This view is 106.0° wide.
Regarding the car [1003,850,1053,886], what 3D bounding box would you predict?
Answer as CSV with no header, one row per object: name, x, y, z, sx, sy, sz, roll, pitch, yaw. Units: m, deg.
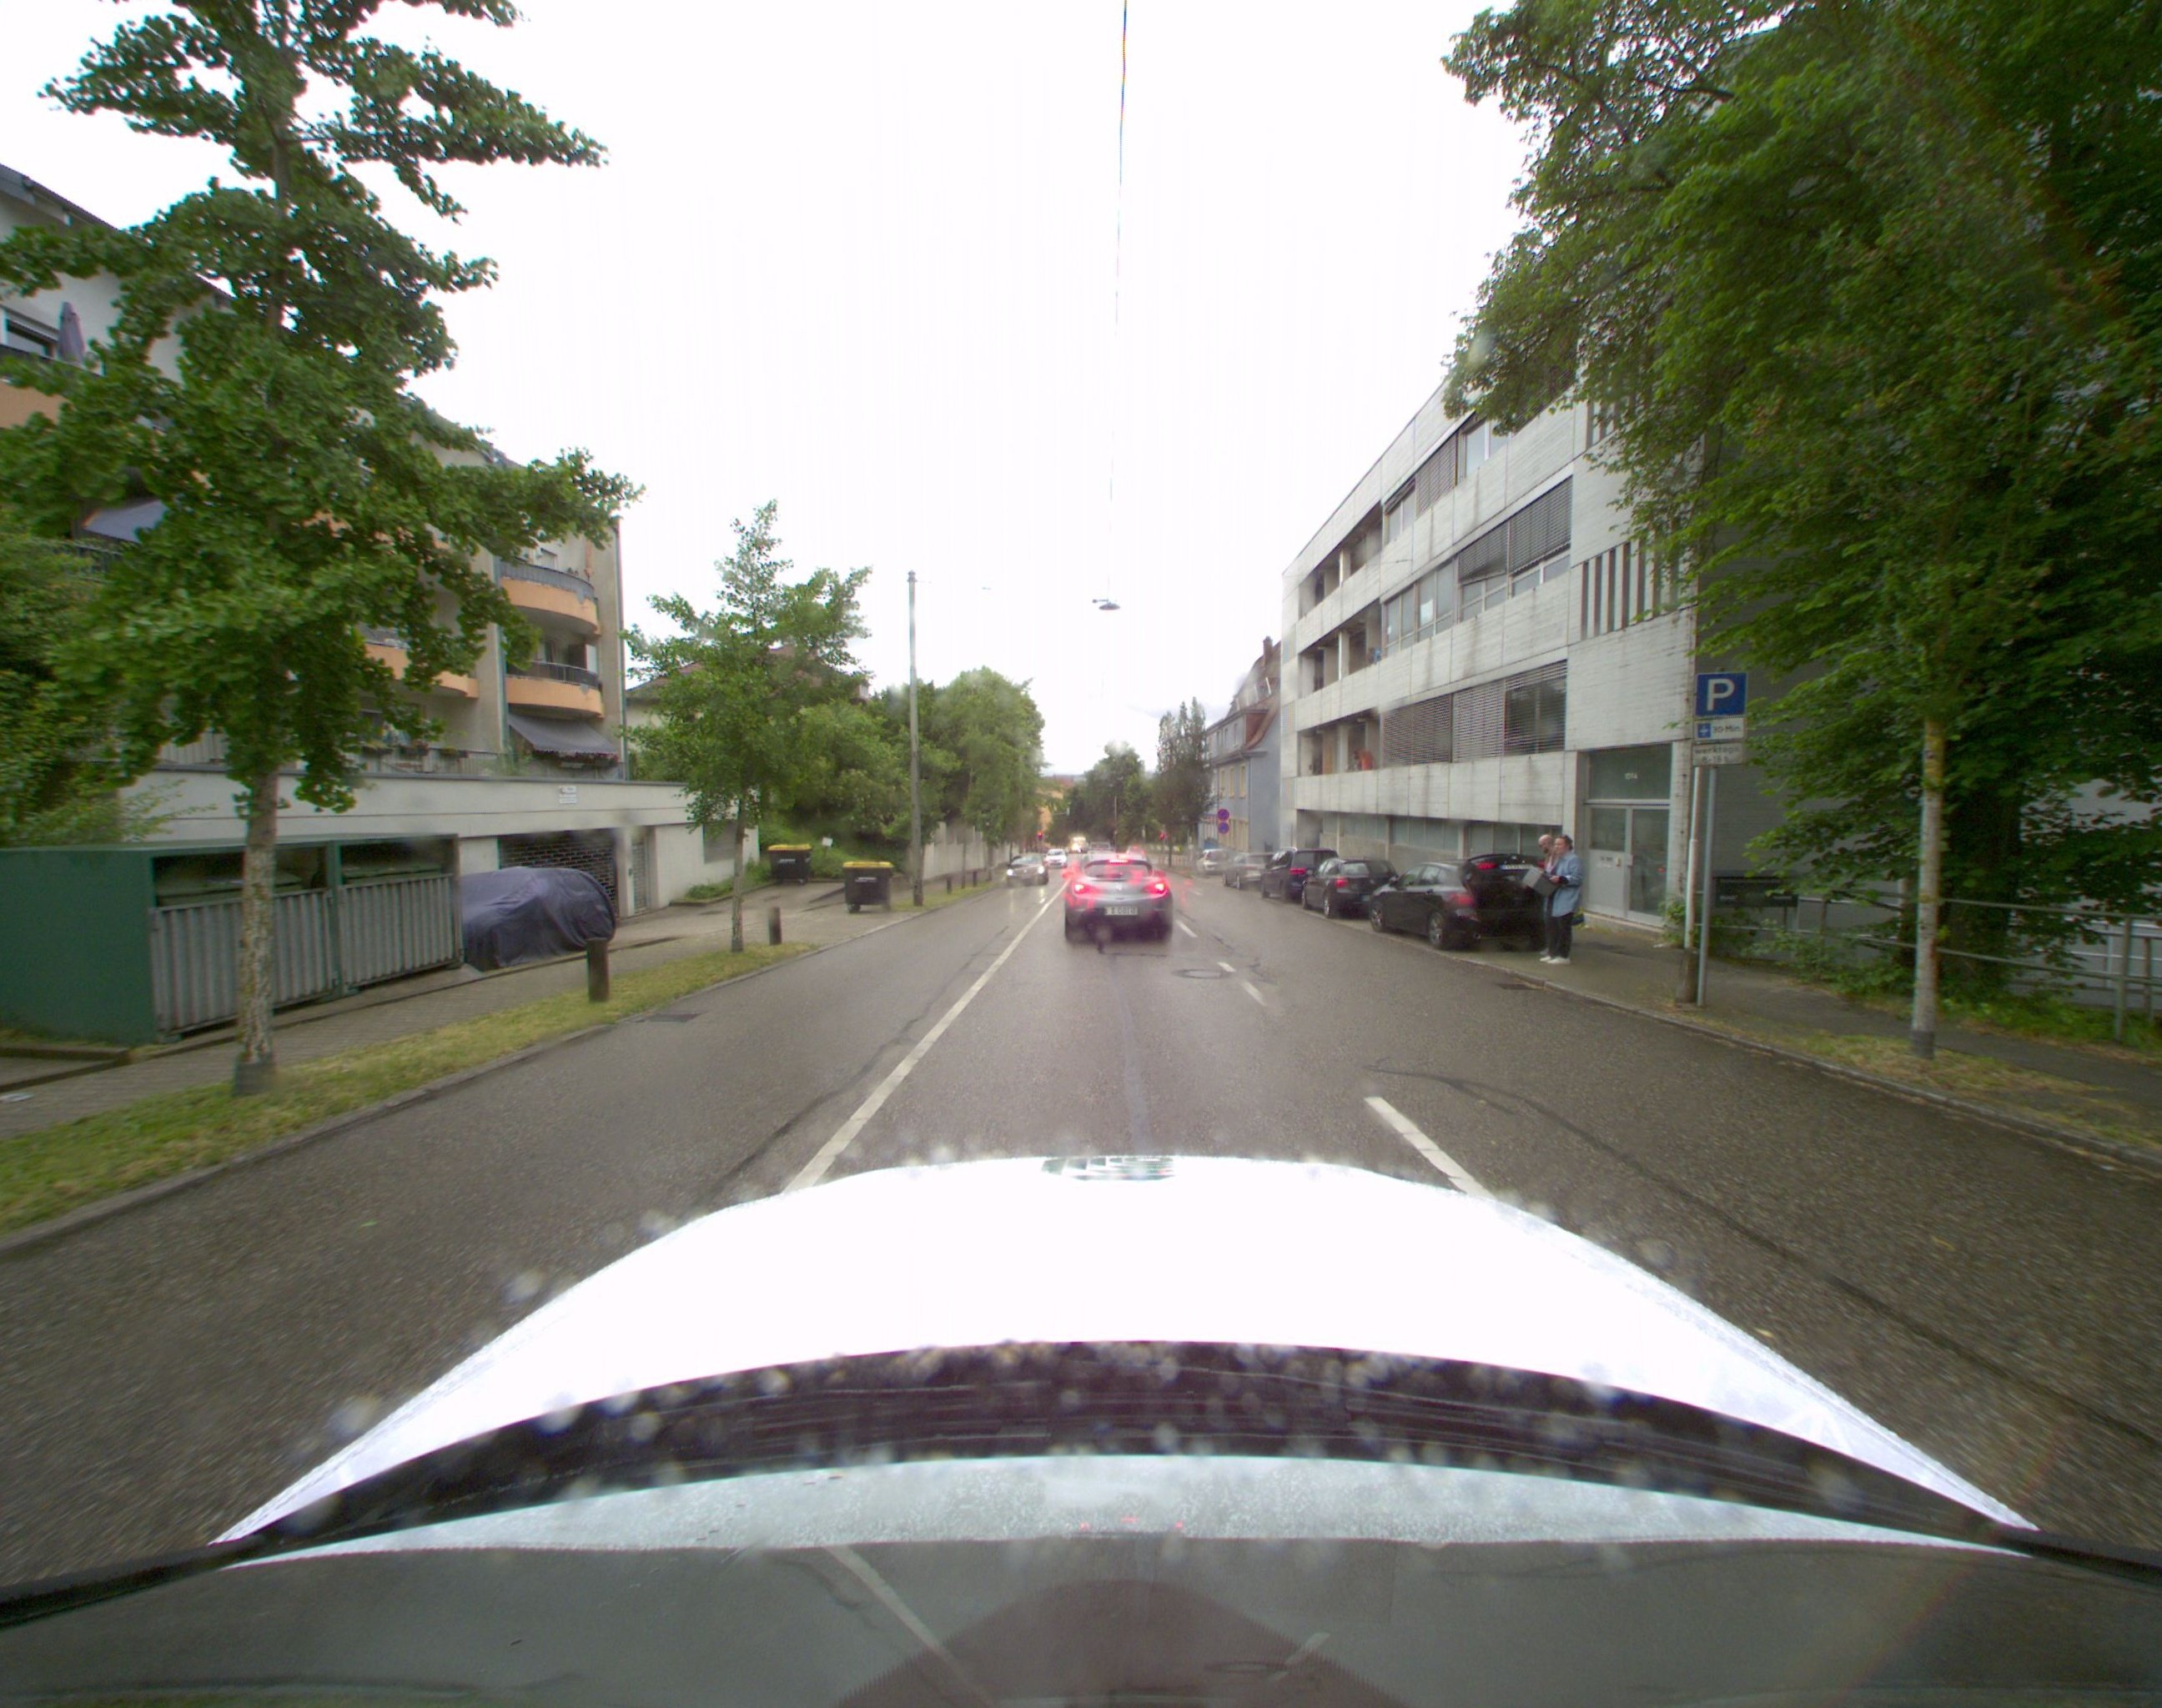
car,-2.418,0.620,38.252,1.843,1.469,4.089,-4,0,2

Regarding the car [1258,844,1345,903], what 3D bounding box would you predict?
car,6.643,0.531,24.901,1.679,1.570,4.002,-1,1,2

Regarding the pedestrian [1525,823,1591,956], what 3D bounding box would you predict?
pedestrian,6.941,0.494,11.849,0.657,1.836,0.693,-2,1,42

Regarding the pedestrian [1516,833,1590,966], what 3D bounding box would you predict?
pedestrian,6.471,0.598,11.157,0.727,1.723,0.770,-2,1,37

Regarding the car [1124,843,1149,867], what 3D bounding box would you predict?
car,5.026,0.071,74.431,1.986,2.036,4.736,3,1,1

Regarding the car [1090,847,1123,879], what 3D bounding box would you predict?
car,1.508,0.510,49.558,1.763,1.781,3.975,3,1,-1

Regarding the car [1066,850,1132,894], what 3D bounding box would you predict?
car,0.517,0.552,26.897,1.794,1.323,3.994,1,0,-4

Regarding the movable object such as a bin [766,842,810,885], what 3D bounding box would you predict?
movable object such as a bin,-9.647,0.309,26.849,1.268,1.387,0.488,1,1,-2

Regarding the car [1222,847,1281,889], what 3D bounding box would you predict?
car,6.716,0.496,32.481,1.578,1.493,4.292,-1,1,2

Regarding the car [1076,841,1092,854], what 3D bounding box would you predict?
car,0.394,-0.928,111.851,1.986,1.536,4.311,3,1,1

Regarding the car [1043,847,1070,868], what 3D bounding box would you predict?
car,-1.941,0.251,64.787,1.816,1.479,3.865,-4,1,2

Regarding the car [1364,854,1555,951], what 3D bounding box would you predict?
car,6.486,0.740,14.455,1.499,1.435,3.999,-1,0,0

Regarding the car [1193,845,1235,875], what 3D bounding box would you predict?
car,7.713,0.309,47.403,1.899,1.570,4.002,-1,1,2

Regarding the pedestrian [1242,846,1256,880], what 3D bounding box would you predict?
pedestrian,8.867,0.453,42.969,0.643,1.784,0.542,0,1,1

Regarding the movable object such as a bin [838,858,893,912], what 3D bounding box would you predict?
movable object such as a bin,-5.624,0.806,21.285,1.268,1.387,0.488,1,1,-2

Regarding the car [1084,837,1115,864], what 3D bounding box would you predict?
car,1.510,-0.328,65.741,2.326,2.036,4.737,3,1,1

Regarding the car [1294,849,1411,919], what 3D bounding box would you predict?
car,6.576,0.653,20.189,1.675,1.464,4.002,-1,1,2

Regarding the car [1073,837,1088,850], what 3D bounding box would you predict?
car,-0.124,-1.554,119.231,1.986,1.784,4.002,3,1,2

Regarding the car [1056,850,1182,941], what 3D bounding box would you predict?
car,0.566,0.653,15.060,1.941,1.432,3.879,0,0,-3

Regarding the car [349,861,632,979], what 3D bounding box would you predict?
car,-9.279,0.932,13.272,1.737,1.456,3.882,-4,1,-1

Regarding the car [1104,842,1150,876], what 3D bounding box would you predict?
car,2.215,0.209,40.364,1.955,1.472,3.950,3,1,-1
